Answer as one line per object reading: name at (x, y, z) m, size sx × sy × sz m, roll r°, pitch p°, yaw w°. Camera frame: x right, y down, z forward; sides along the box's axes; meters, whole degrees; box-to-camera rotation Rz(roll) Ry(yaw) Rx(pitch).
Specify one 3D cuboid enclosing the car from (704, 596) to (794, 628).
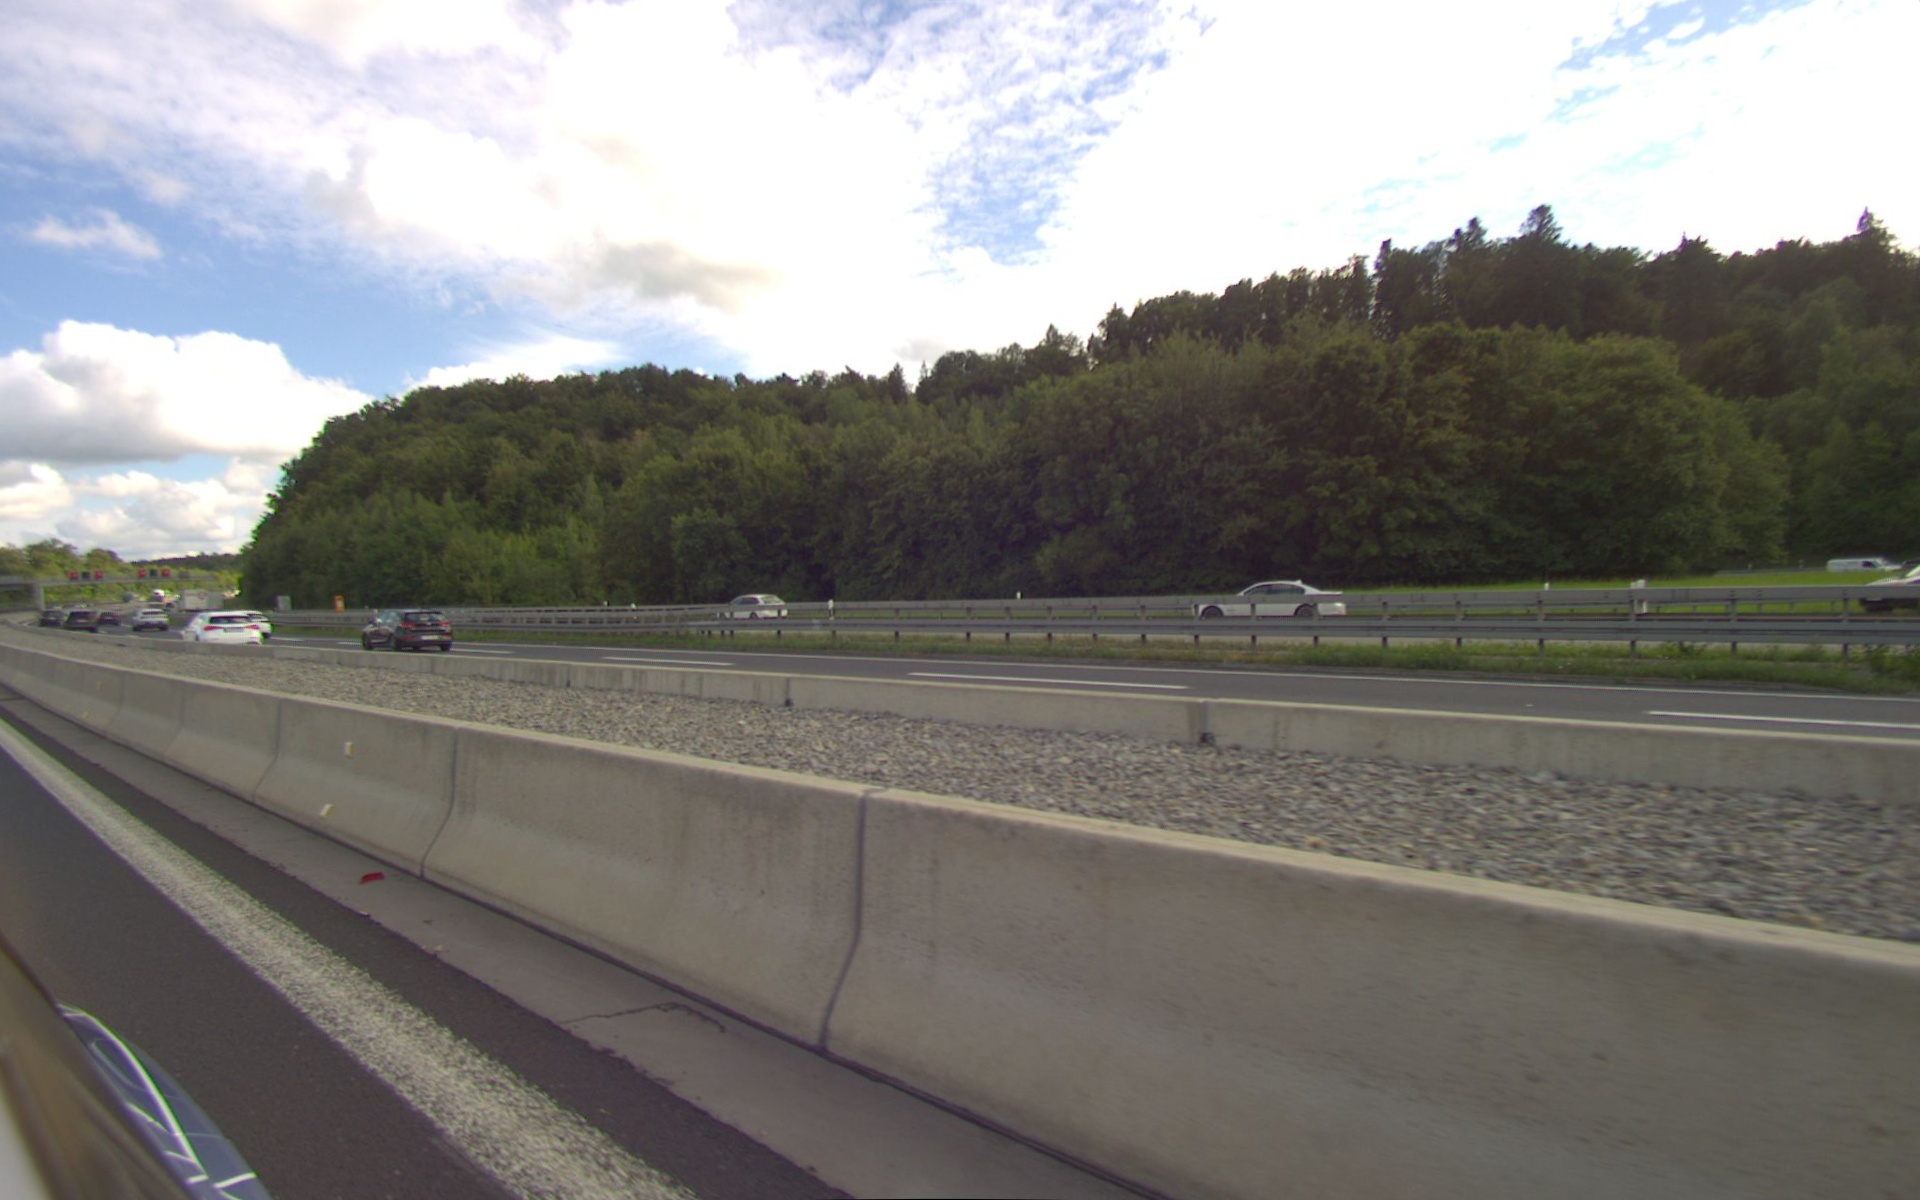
car at (-10.386, 0.606, 49.620) m, size 4.620 × 1.442 × 1.765 m, roll -1°, pitch 0°, yaw 39°

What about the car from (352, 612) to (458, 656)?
car at (-18.689, 1.123, 34.029) m, size 4.228 × 1.347 × 1.848 m, roll -1°, pitch 0°, yaw 42°

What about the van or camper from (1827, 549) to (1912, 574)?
van or camper at (76.381, -3.243, 85.115) m, size 1.783 × 1.872 × 5.151 m, roll -2°, pitch 0°, yaw -14°

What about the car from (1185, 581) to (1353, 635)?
car at (10.360, 0.287, 33.989) m, size 5.192 × 1.684 × 1.926 m, roll -1°, pitch 0°, yaw 24°

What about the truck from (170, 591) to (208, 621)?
truck at (-107.408, 0.734, 140.877) m, size 2.868 × 3.998 × 10.472 m, roll -1°, pitch 1°, yaw -44°

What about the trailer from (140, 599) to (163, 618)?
trailer at (-167.845, 1.837, 210.033) m, size 2.779 × 3.835 × 12.201 m, roll -2°, pitch 1°, yaw -43°

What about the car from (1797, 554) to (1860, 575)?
car at (76.218, -3.093, 88.894) m, size 1.650 × 1.646 × 3.905 m, roll -2°, pitch 0°, yaw -15°

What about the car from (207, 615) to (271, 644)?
car at (-37.887, 1.527, 53.138) m, size 4.578 × 1.440 × 1.865 m, roll -1°, pitch 0°, yaw 43°

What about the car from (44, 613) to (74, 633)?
car at (-82.380, 2.111, 92.466) m, size 1.864 × 1.716 × 4.970 m, roll -1°, pitch 0°, yaw -44°

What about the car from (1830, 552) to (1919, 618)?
car at (28.374, -0.492, 28.717) m, size 5.172 × 1.784 × 2.400 m, roll -2°, pitch 0°, yaw 2°

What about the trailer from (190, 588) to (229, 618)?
trailer at (-114.427, 0.392, 154.235) m, size 3.282 × 4.324 × 12.152 m, roll -1°, pitch 1°, yaw -43°

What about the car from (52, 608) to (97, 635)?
car at (-61.304, 1.498, 70.047) m, size 4.953 × 1.798 × 1.865 m, roll -1°, pitch 0°, yaw 43°

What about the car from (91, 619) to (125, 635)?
car at (-83.714, 2.651, 99.456) m, size 4.813 × 1.413 × 1.972 m, roll -1°, pitch 0°, yaw 43°

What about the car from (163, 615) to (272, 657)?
car at (-26.350, 1.242, 35.822) m, size 5.607 × 1.347 × 2.024 m, roll -1°, pitch 0°, yaw 42°

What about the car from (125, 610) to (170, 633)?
car at (-60.751, 1.599, 75.631) m, size 4.965 × 1.622 × 1.866 m, roll -1°, pitch 0°, yaw 42°
